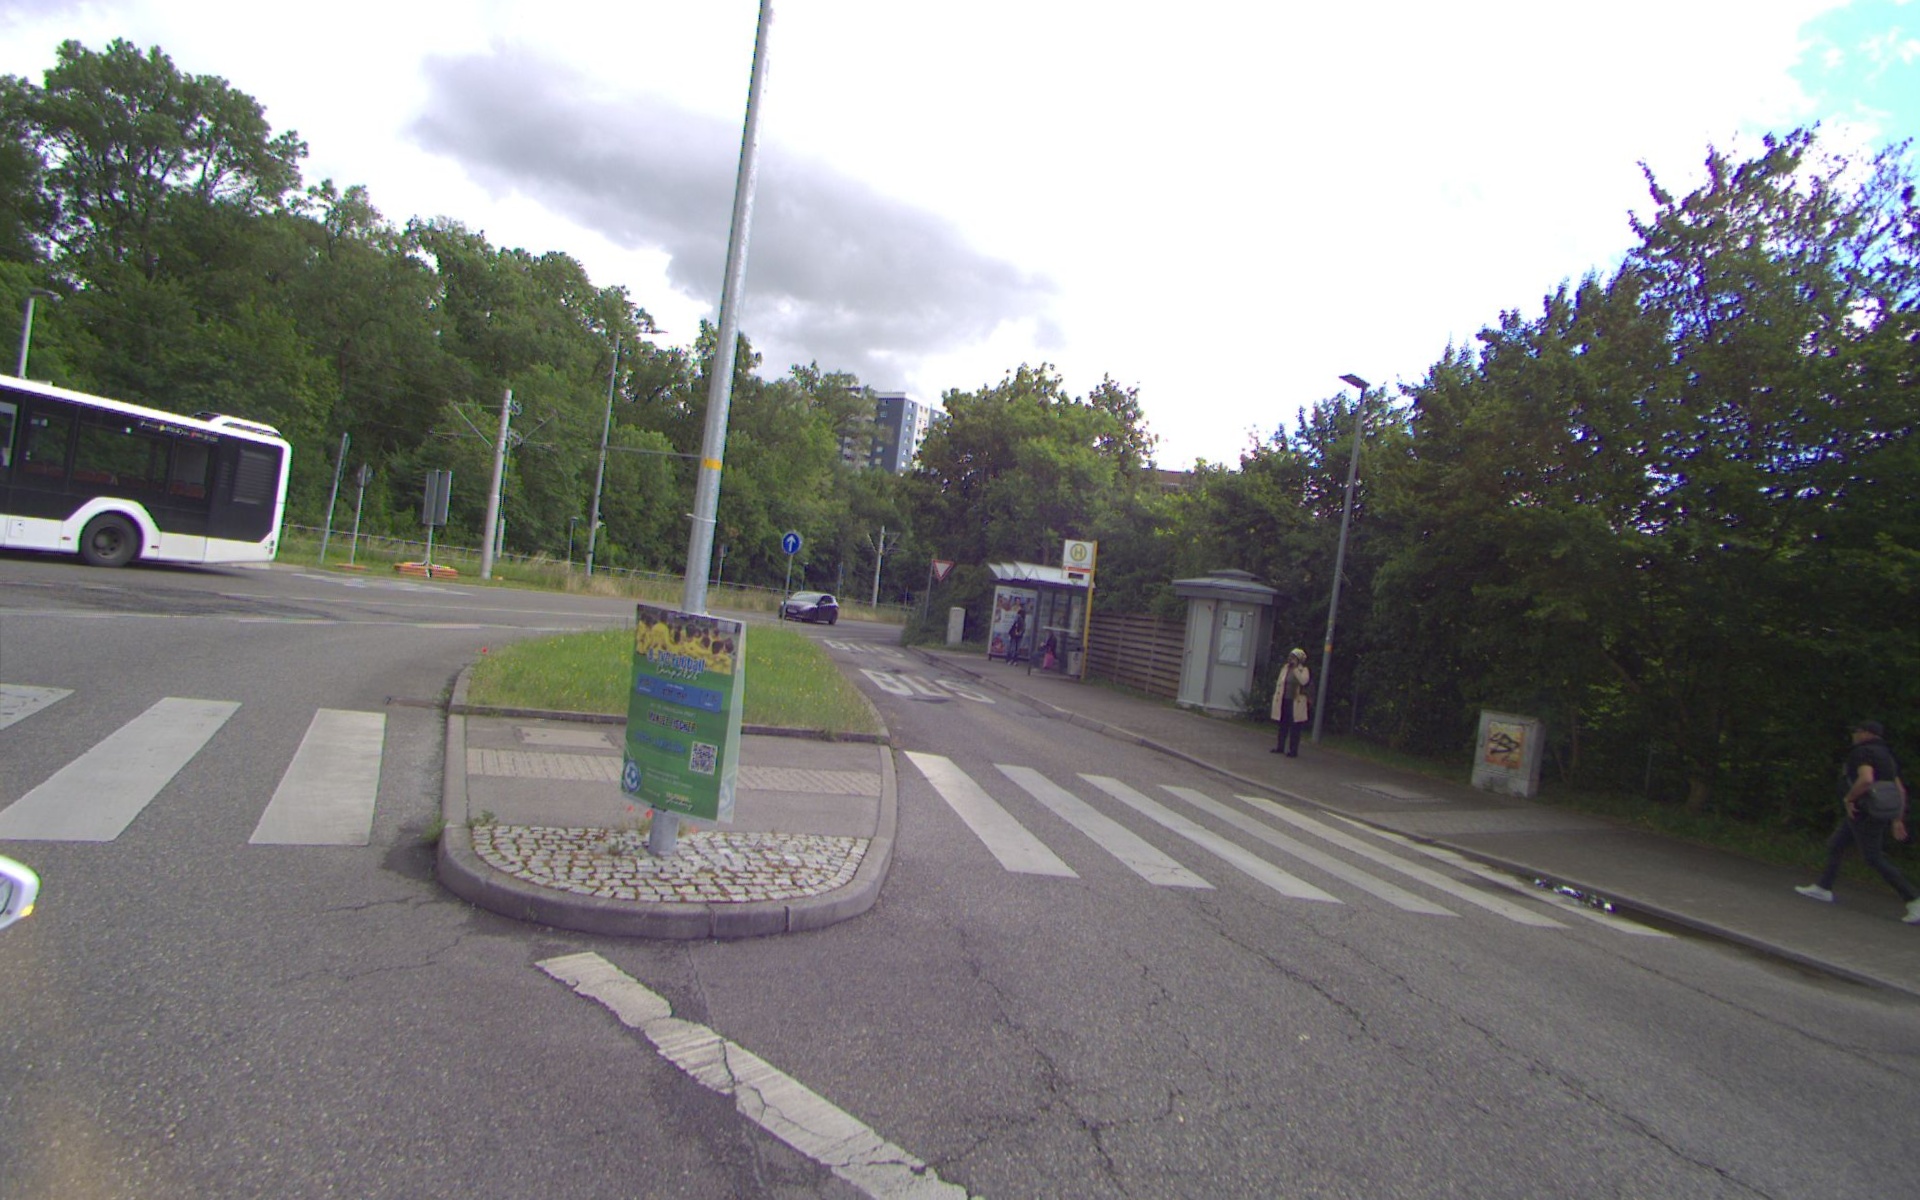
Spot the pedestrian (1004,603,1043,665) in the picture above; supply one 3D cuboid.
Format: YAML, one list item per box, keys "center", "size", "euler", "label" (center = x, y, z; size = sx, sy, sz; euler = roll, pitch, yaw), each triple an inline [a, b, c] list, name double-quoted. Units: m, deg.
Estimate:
- center: [1.813, 0.956, 28.835]
  size: [0.758, 1.670, 0.685]
  euler: [7, 0, -10]
  label: "pedestrian"

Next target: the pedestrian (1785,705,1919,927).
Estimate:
- center: [8.719, 2.007, 9.506]
  size: [0.846, 1.844, 0.979]
  euler: [7, 0, -25]
  label: "pedestrian"

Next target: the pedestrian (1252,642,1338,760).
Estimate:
- center: [5.099, 1.538, 15.352]
  size: [0.677, 1.615, 0.767]
  euler: [7, 5, -19]
  label: "pedestrian"

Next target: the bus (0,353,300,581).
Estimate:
- center: [-16.519, -2.426, 15.251]
  size: [2.624, 3.241, 12.207]
  euler: [8, -1, 13]
  label: "bus"

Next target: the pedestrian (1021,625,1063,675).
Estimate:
- center: [2.185, 1.324, 26.828]
  size: [0.739, 1.184, 0.768]
  euler: [7, 0, -16]
  label: "pedestrian"

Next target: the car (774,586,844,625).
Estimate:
- center: [-7.172, 0.311, 48.125]
  size: [1.727, 1.451, 4.432]
  euler: [8, -1, 12]
  label: "car"
